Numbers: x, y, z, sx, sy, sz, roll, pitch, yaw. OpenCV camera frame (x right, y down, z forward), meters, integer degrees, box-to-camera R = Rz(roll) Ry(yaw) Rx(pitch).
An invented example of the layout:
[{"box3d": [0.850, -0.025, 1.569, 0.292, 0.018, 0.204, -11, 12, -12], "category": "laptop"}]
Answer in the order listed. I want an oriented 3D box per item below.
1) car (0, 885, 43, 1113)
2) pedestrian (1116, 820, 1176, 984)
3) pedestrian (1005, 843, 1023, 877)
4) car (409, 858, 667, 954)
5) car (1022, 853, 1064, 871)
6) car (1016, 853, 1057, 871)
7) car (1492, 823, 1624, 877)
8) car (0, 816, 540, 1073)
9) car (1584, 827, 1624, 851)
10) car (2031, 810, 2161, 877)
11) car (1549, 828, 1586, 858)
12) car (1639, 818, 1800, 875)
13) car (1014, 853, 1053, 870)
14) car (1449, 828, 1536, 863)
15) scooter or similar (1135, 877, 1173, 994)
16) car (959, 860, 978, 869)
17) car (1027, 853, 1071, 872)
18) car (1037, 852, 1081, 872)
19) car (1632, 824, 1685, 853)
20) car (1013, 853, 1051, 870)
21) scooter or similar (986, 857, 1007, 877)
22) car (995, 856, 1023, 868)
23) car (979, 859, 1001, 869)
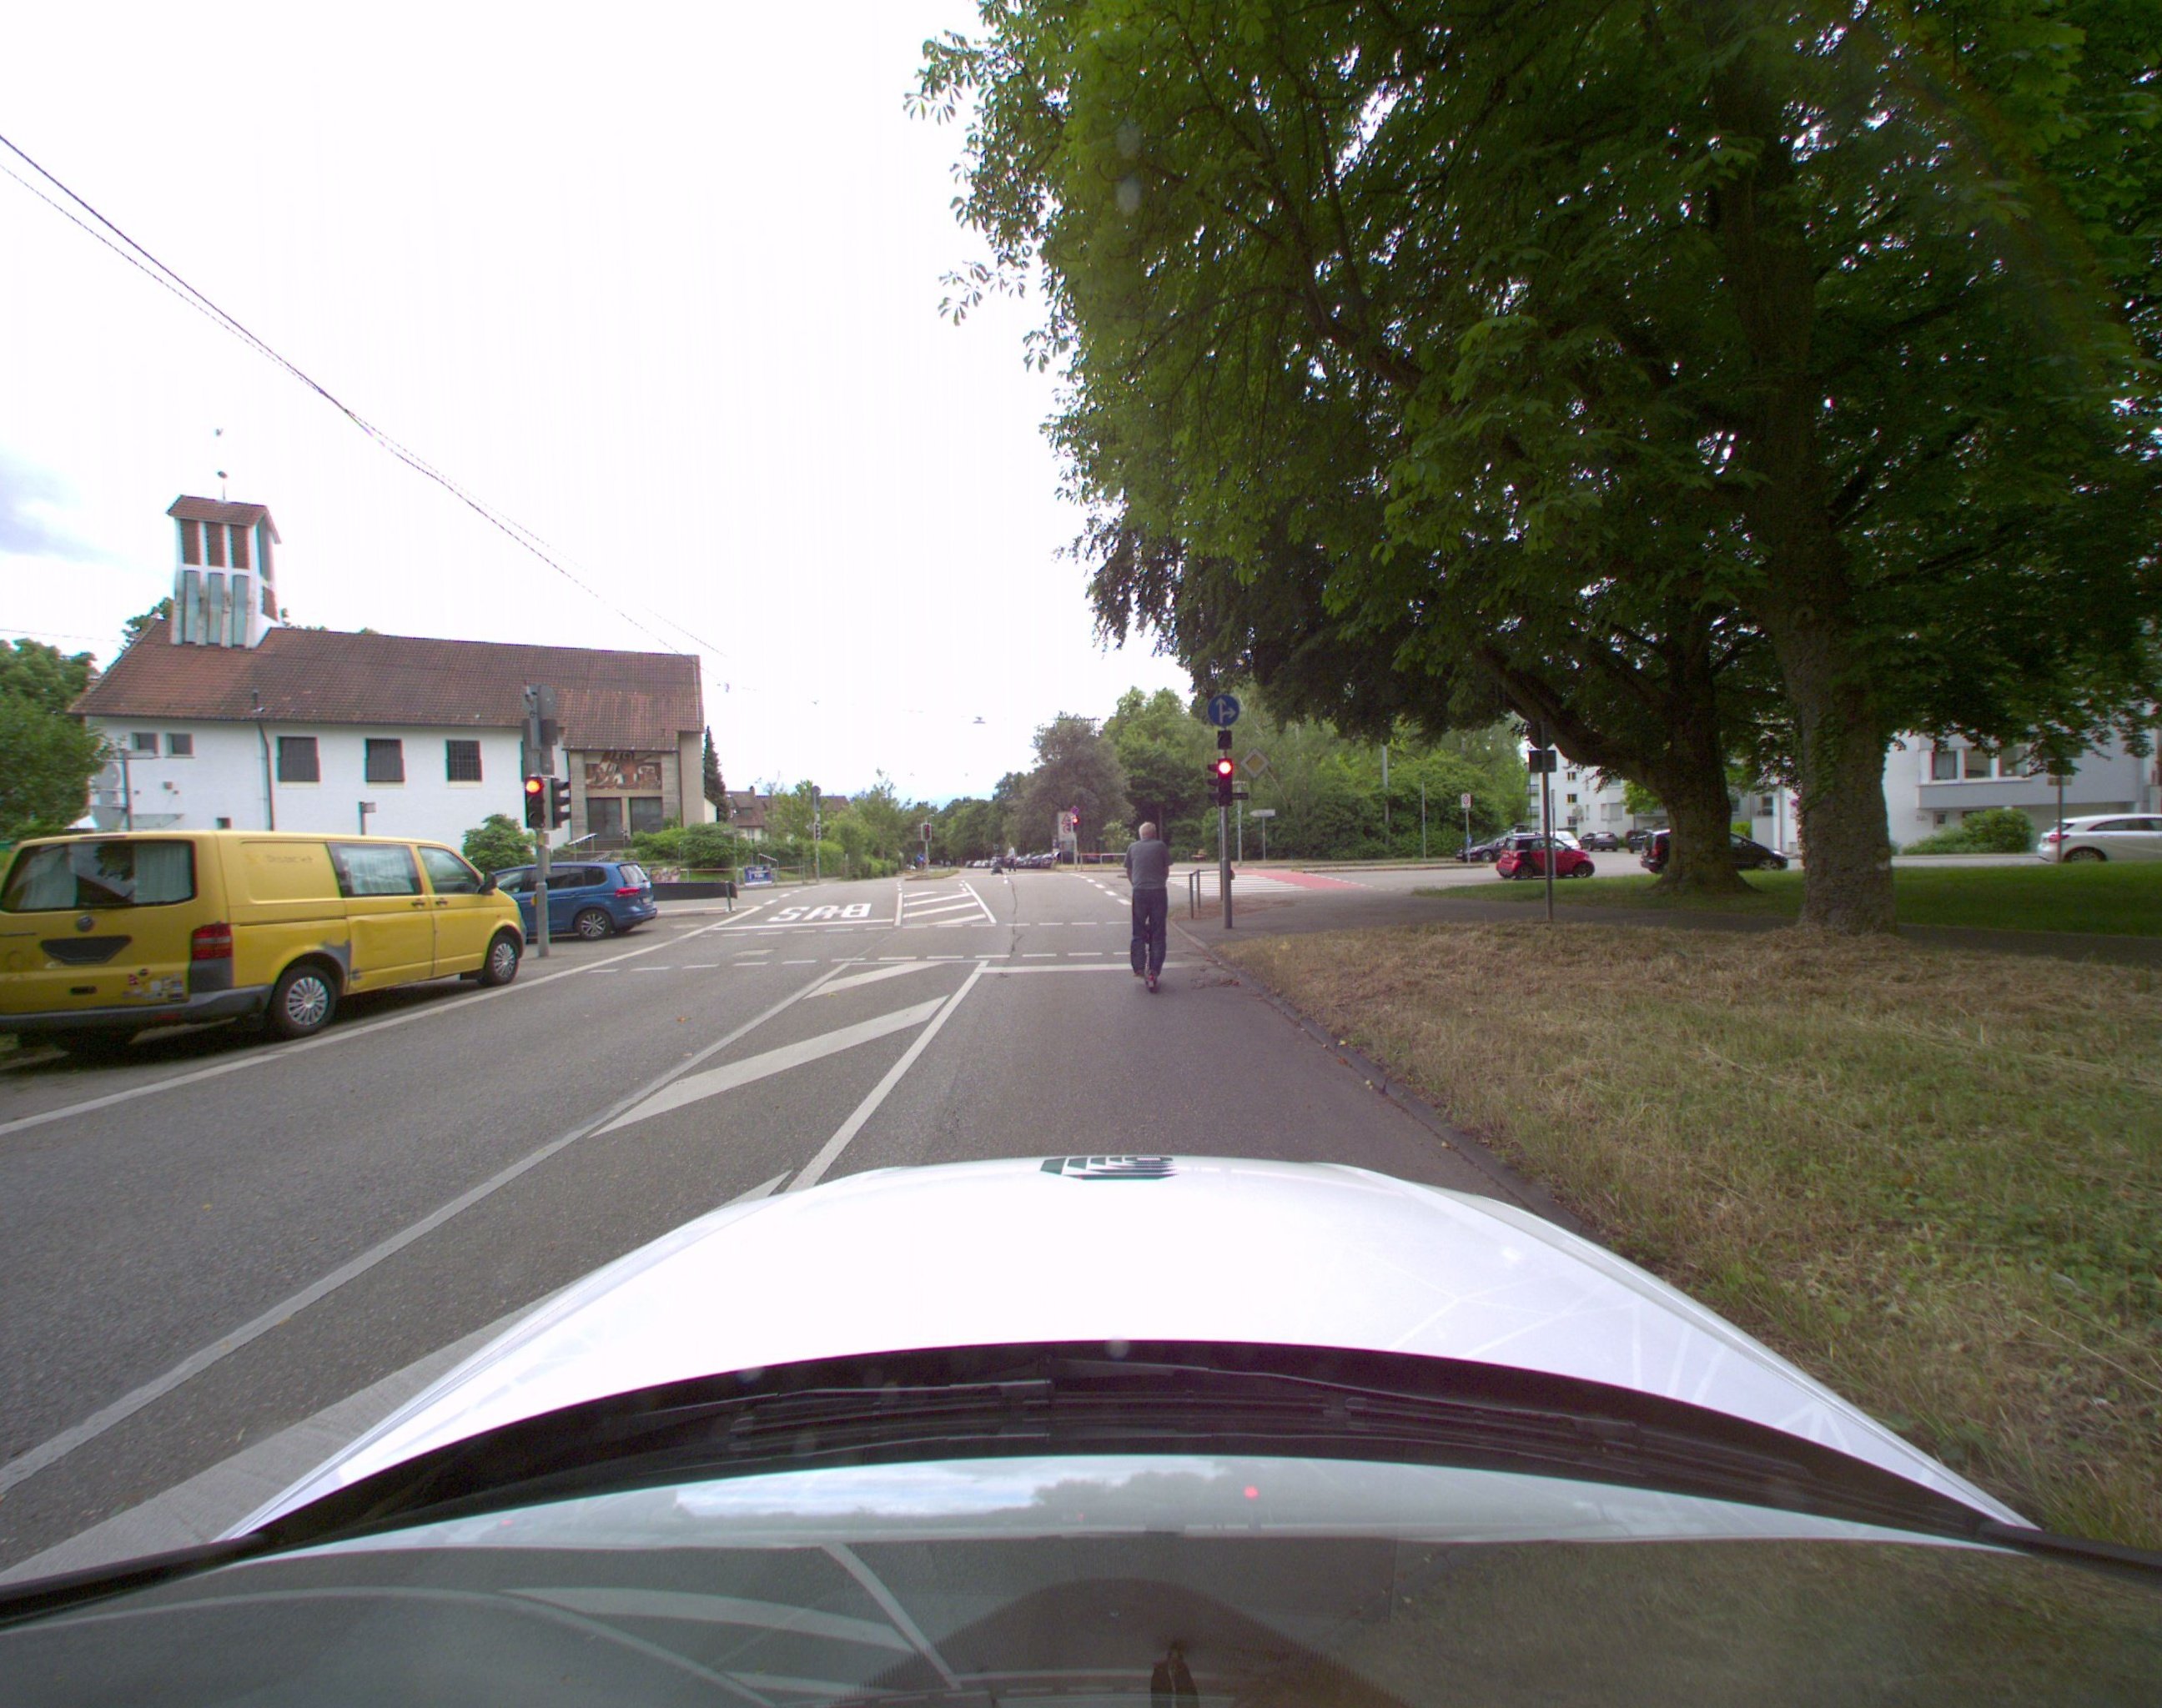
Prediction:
[{"box3d": [-7.903, 1.002, 3.261, 1.686, 1.485, 4.539, -3, 0, -2], "category": "car"}, {"box3d": [0.750, 0.542, 9.307, 0.569, 1.813, 0.421, -2, 0, 9], "category": "pedestrian"}, {"box3d": [-3.774, 0.344, 45.833, 0.883, 1.862, 0.573, -2, 0, -9], "category": "pedestrian"}, {"box3d": [-11.108, 1.003, 16.988, 3.993, 1.610, 1.809, -3, 0, -14], "category": "car"}, {"box3d": [-3.838, 0.823, 82.180, 3.856, 1.610, 1.716, -3, 0, -22], "category": "car"}, {"box3d": [-4.625, 0.809, 84.228, 3.856, 1.610, 1.716, -3, 0, -22], "category": "car"}, {"box3d": [16.396, -0.141, 28.146, 3.500, 1.610, 1.731, -3, 0, 6], "category": "car"}, {"box3d": [-8.279, 0.728, 8.928, 1.881, 2.013, 4.557, -3, 0, -5], "category": "car"}, {"box3d": [38.573, -1.126, 60.104, 1.707, 1.610, 3.875, -3, 0, 21], "category": "car"}, {"box3d": [27.790, -0.297, 21.154, 3.805, 1.610, 1.739, -3, 0, 42], "category": "car"}, {"box3d": [28.501, -0.666, 47.778, 1.706, 1.610, 3.878, -3, 0, 29], "category": "car"}, {"box3d": [20.715, -0.246, 26.624, 3.805, 1.610, 1.739, -3, 0, 27], "category": "car"}, {"box3d": [-5.219, 0.811, 89.554, 3.856, 1.610, 1.716, -3, 0, -22], "category": "car"}, {"box3d": [20.876, -0.447, 41.425, 3.499, 1.530, 1.732, -3, 0, 7], "category": "car"}, {"box3d": [0.836, 0.877, 9.164, 0.280, 1.178, 1.180, -2, 0, 10], "category": "scooter or similar"}, {"box3d": [-24.647, 2.266, 178.873, 3.856, 1.610, 1.716, -3, 0, -22], "category": "car"}, {"box3d": [-3.131, 0.800, 79.626, 3.858, 1.610, 1.715, -3, 0, -23], "category": "car"}, {"box3d": [-2.105, 0.761, 77.639, 3.854, 1.610, 1.717, -3, 0, -20], "category": "car"}, {"box3d": [35.268, -0.955, 49.867, 1.707, 1.610, 3.875, -3, 0, 21], "category": "car"}, {"box3d": [-5.571, 0.828, 91.973, 3.856, 1.610, 1.716, -3, 0, -22], "category": "car"}, {"box3d": [-4.731, 0.736, 45.648, 1.107, 1.081, 0.576, -2, 0, -8], "category": "scooter or similar"}, {"box3d": [-11.025, 1.186, 124.902, 3.856, 1.610, 1.716, -3, 0, -22], "category": "car"}, {"box3d": [-17.502, 1.879, 157.190, 3.856, 1.610, 1.716, -3, 0, -22], "category": "car"}]
